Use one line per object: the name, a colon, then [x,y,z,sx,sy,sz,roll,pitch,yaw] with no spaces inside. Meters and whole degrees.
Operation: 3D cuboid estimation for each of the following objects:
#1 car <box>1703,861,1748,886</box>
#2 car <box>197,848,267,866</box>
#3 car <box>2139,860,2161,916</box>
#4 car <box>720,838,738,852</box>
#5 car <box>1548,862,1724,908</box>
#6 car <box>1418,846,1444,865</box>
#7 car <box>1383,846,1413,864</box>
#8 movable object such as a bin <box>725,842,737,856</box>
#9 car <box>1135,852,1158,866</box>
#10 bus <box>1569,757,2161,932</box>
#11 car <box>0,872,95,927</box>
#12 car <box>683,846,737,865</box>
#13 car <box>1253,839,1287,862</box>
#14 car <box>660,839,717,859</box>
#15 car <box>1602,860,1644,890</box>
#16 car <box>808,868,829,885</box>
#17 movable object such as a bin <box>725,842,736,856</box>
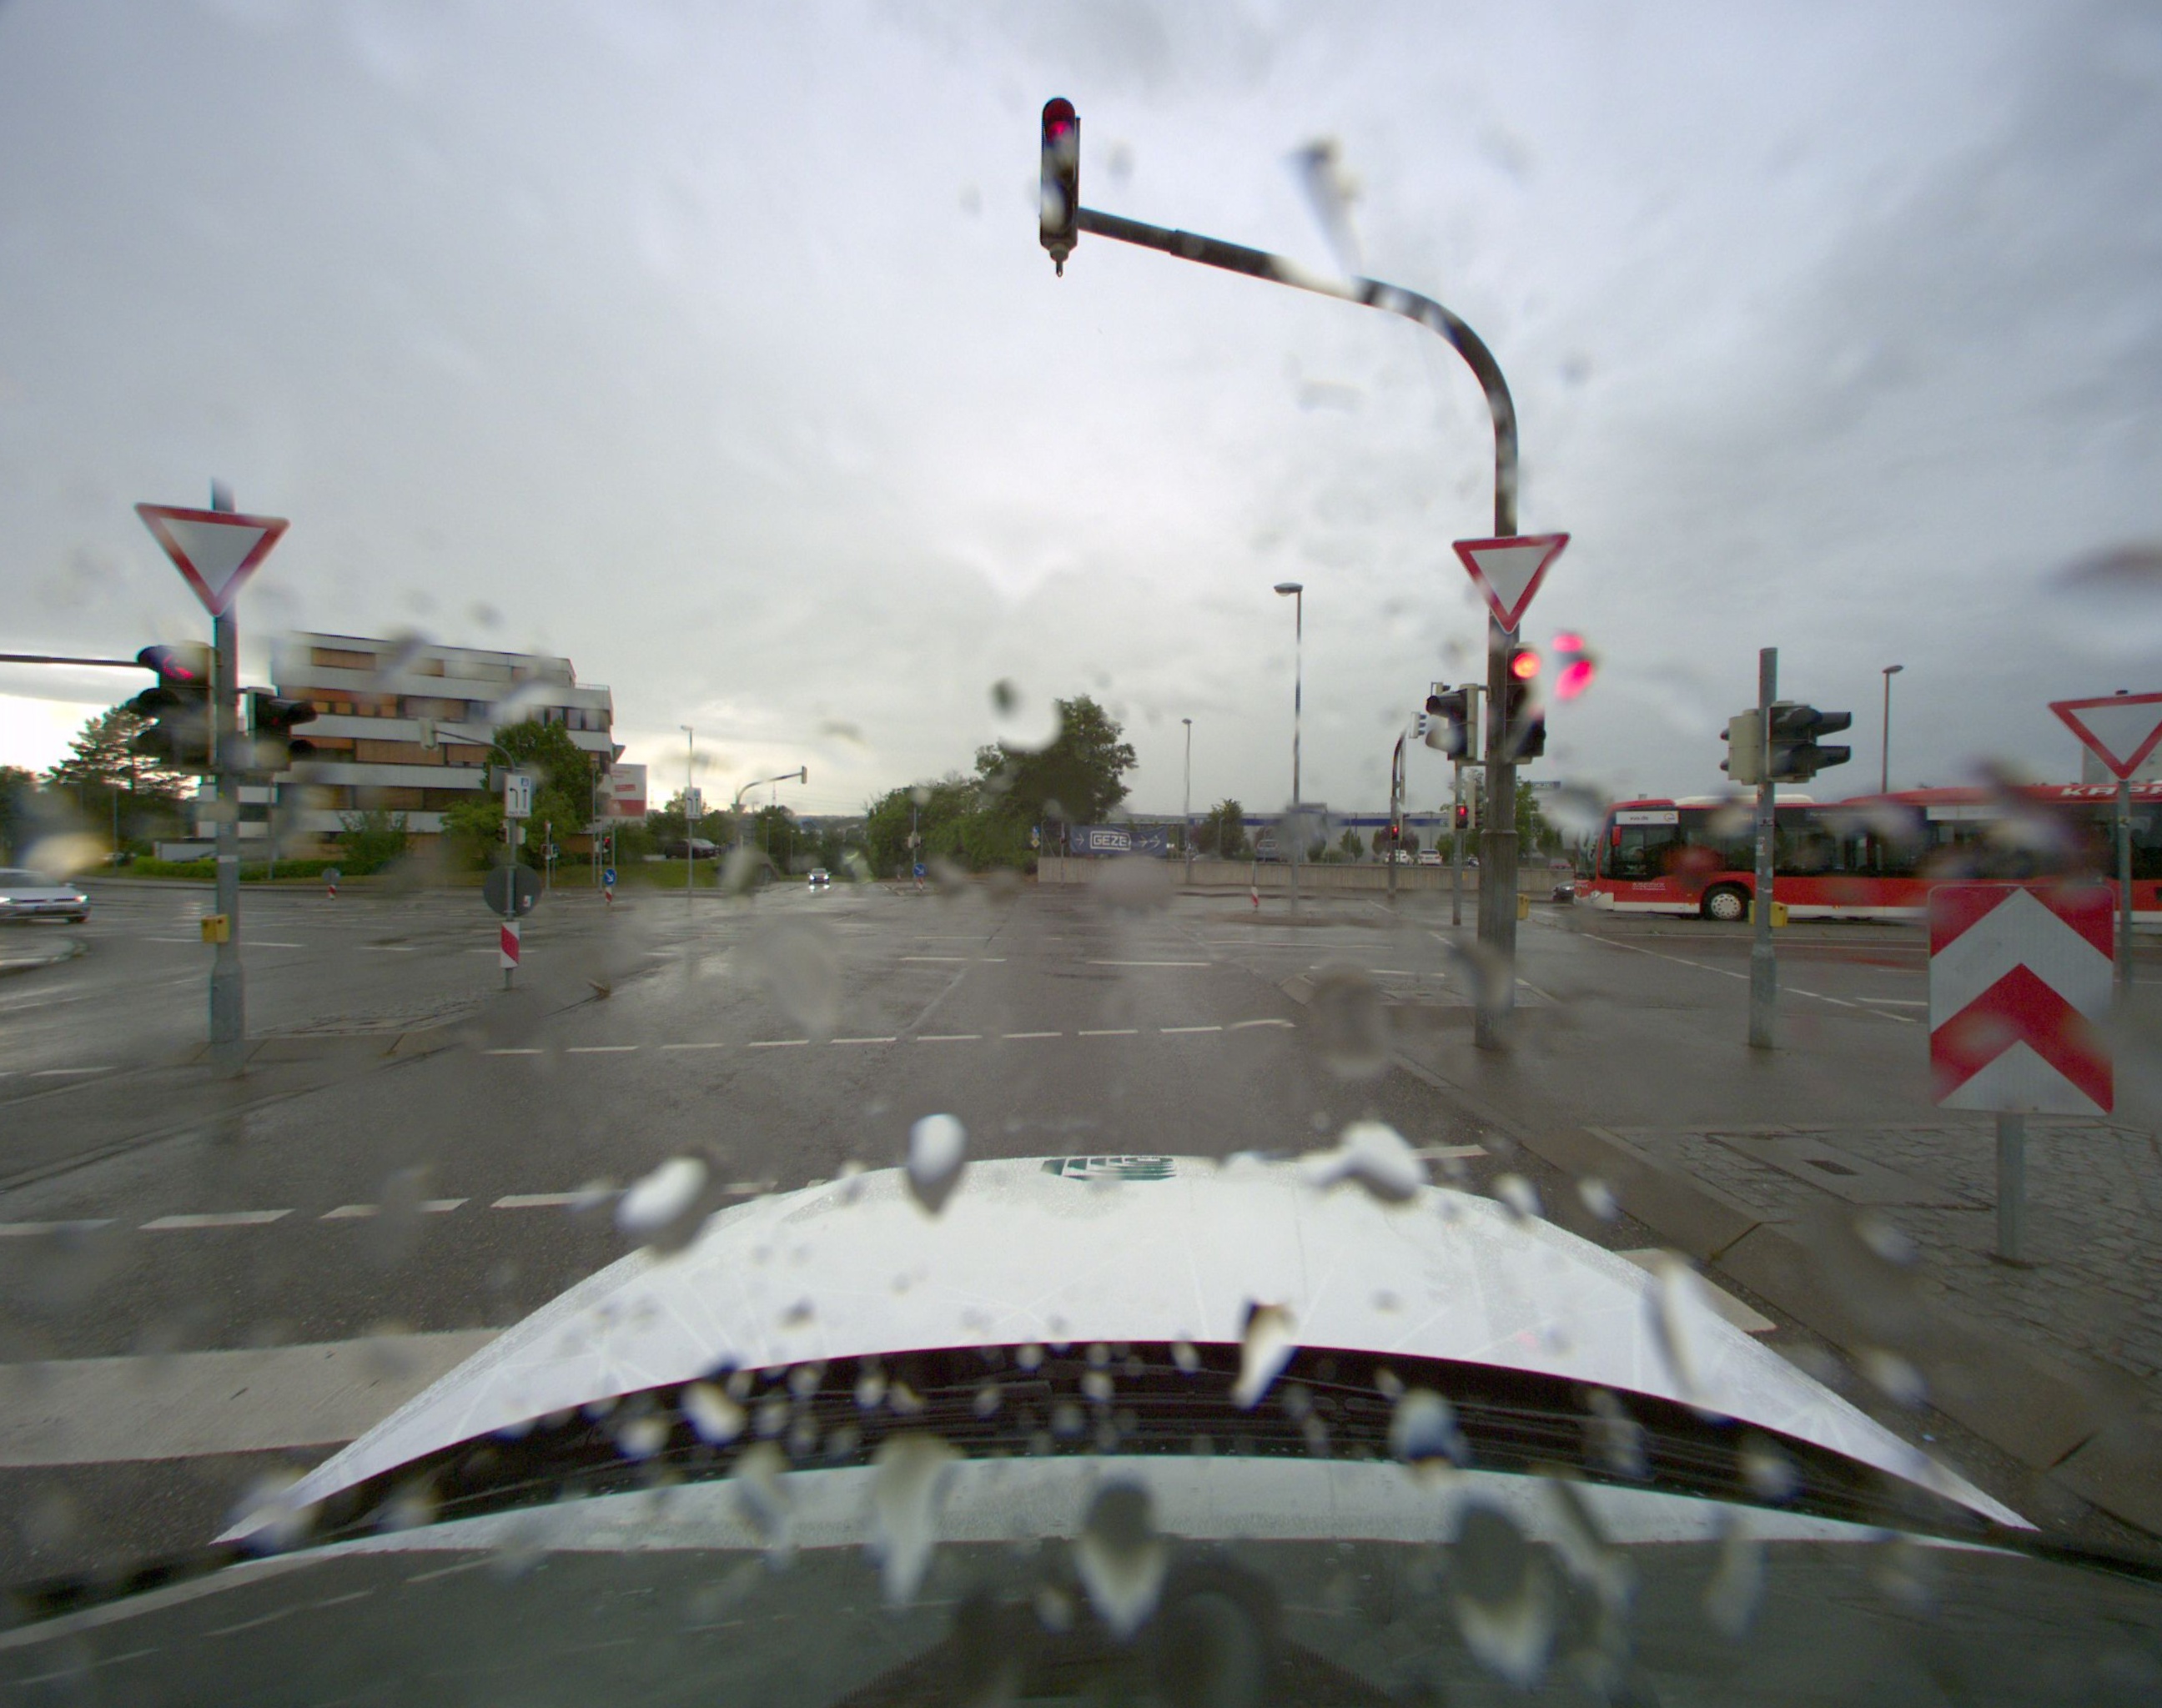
car: [53.036,1.562,67.101,1.976,2.014,4.022,-1,-1,24]
car: [-70.023,0.214,67.227,3.779,1.399,1.977,0,0,-40]
car: [31.677,0.945,21.483,4.344,1.538,1.834,0,0,18]
car: [-41.787,-1.098,96.692,1.836,1.442,3.967,1,-2,-25]
car: [17.638,0.938,26.139,4.344,1.354,1.834,0,0,18]
car: [28.895,0.127,67.191,1.841,1.526,4.127,-1,-1,25]
car: [26.468,0.105,67.881,1.800,1.434,4.128,-1,-1,28]
movable object such as a bin: [-37.765,-0.519,87.880,1.089,1.437,1.434,1,-3,-25]
car: [7.761,0.579,95.897,1.651,1.606,3.550,-1,-1,23]
bus: [18.854,-0.289,19.246,12.152,3.576,3.001,2,0,19]
car: [-28.853,1.173,21.770,4.479,1.363,1.771,-1,-1,20]
car: [-32.671,0.165,71.818,3.958,1.586,1.909,0,-2,14]
car: [13.347,-0.246,57.280,1.727,1.553,3.550,-1,-1,23]
car: [-33.432,-0.430,69.345,3.962,1.586,1.907,0,-2,10]
car: [37.998,1.450,57.147,1.727,2.014,3.844,-1,-1,23]
car: [-23.398,2.003,72.496,1.667,1.494,3.973,0,-1,-20]
movable object such as a bin: [-38.371,-0.504,89.210,1.089,1.437,1.434,1,-3,-25]
